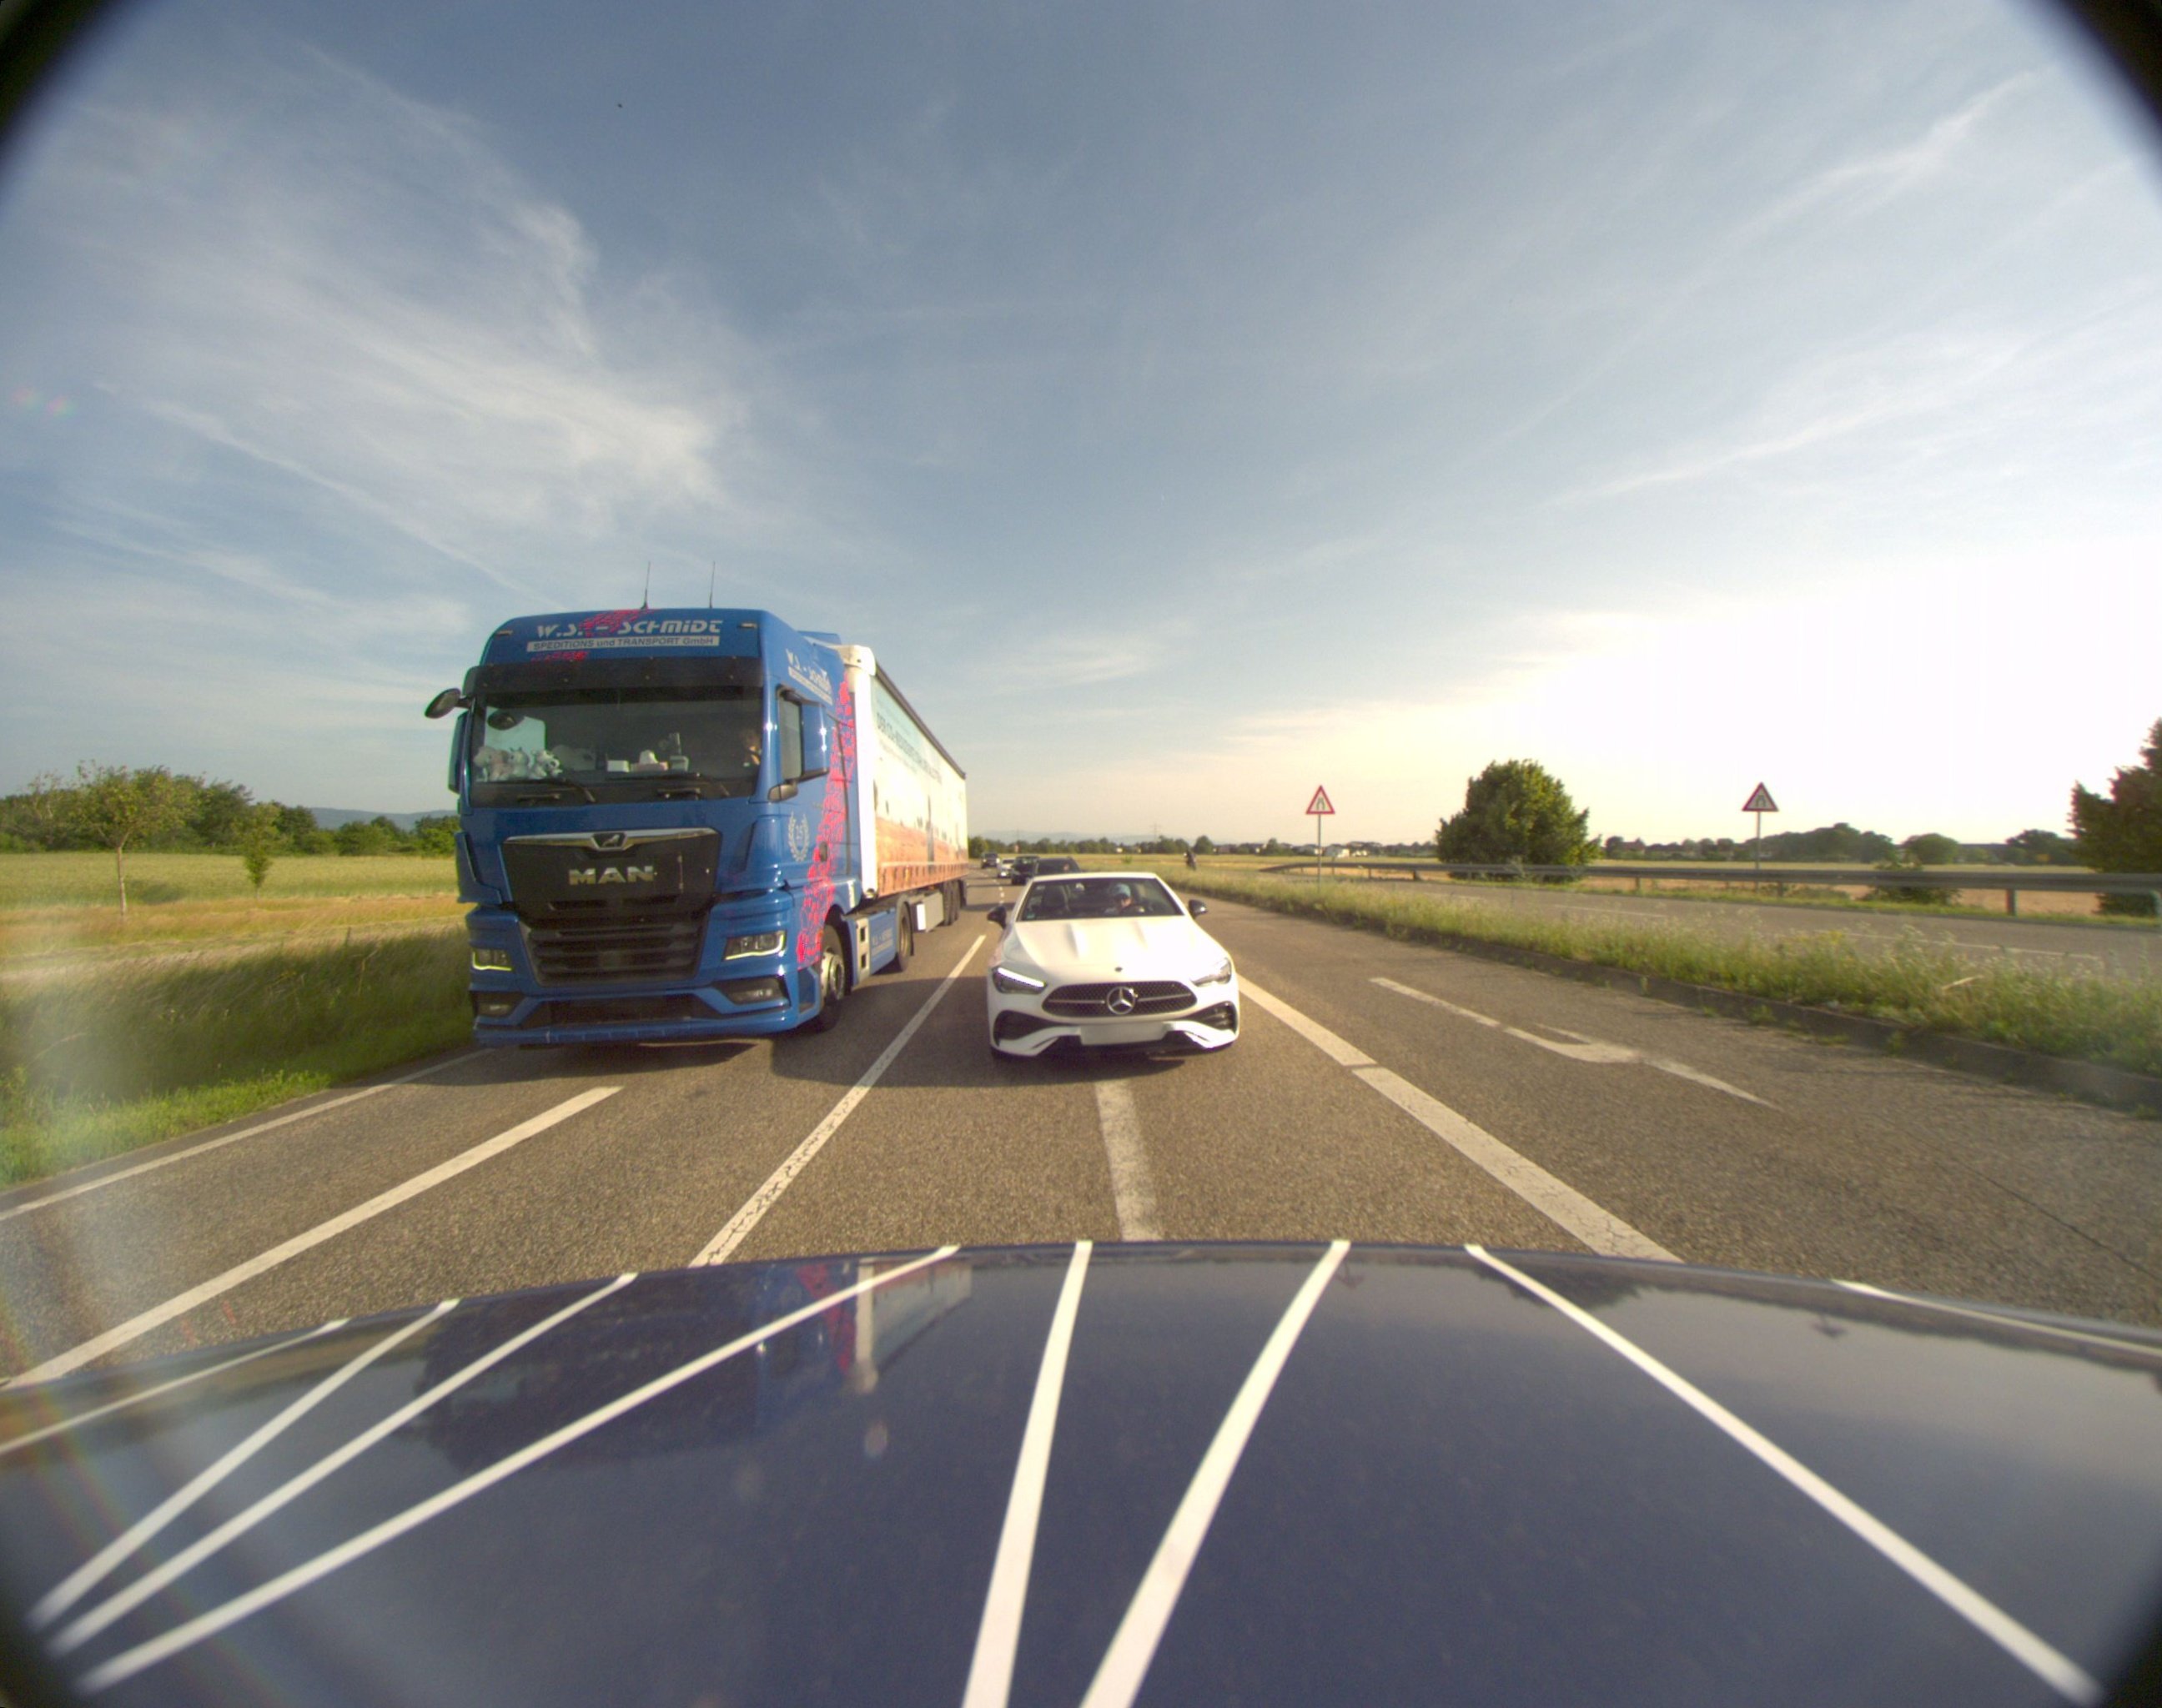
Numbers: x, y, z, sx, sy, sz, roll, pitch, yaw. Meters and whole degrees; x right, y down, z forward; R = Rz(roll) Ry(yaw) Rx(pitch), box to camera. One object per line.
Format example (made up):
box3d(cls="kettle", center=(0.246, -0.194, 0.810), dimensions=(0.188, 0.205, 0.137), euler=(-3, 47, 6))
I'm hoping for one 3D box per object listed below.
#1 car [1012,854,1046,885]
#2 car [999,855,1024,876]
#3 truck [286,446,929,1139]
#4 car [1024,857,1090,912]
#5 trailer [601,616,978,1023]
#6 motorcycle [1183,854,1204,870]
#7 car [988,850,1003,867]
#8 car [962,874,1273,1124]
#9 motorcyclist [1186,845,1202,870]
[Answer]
box3d(cls="car", center=(-2.809, 0.809, 40.503), dimensions=(1.558, 1.550, 3.046), euler=(-1, 0, -8))
box3d(cls="car", center=(-4.914, 0.795, 53.547), dimensions=(1.558, 1.392, 4.032), euler=(-1, 0, -8))
box3d(cls="truck", center=(-3.737, -0.466, 8.057), dimensions=(3.309, 4.631, 5.729), euler=(-2, 1, -4))
box3d(cls="car", center=(-0.809, 0.856, 23.190), dimensions=(1.586, 1.496, 3.658), euler=(-1, 0, -8))
box3d(cls="trailer", center=(-4.243, -0.513, 15.417), dimensions=(3.291, 4.654, 13.139), euler=(-2, 1, -4))
box3d(cls="motorcycle", center=(8.015, 0.573, 54.290), dimensions=(0.940, 1.118, 2.169), euler=(-2, 0, -5))
box3d(cls="car", center=(-9.936, 0.463, 87.944), dimensions=(1.558, 1.909, 4.032), euler=(-1, 0, -8))
box3d(cls="car", center=(0.181, 0.974, 6.804), dimensions=(1.941, 1.389, 3.917), euler=(-2, 1, -2))
box3d(cls="motorcyclist", center=(8.034, 0.258, 54.201), dimensions=(0.906, 1.748, 0.831), euler=(-2, 1, -6))
